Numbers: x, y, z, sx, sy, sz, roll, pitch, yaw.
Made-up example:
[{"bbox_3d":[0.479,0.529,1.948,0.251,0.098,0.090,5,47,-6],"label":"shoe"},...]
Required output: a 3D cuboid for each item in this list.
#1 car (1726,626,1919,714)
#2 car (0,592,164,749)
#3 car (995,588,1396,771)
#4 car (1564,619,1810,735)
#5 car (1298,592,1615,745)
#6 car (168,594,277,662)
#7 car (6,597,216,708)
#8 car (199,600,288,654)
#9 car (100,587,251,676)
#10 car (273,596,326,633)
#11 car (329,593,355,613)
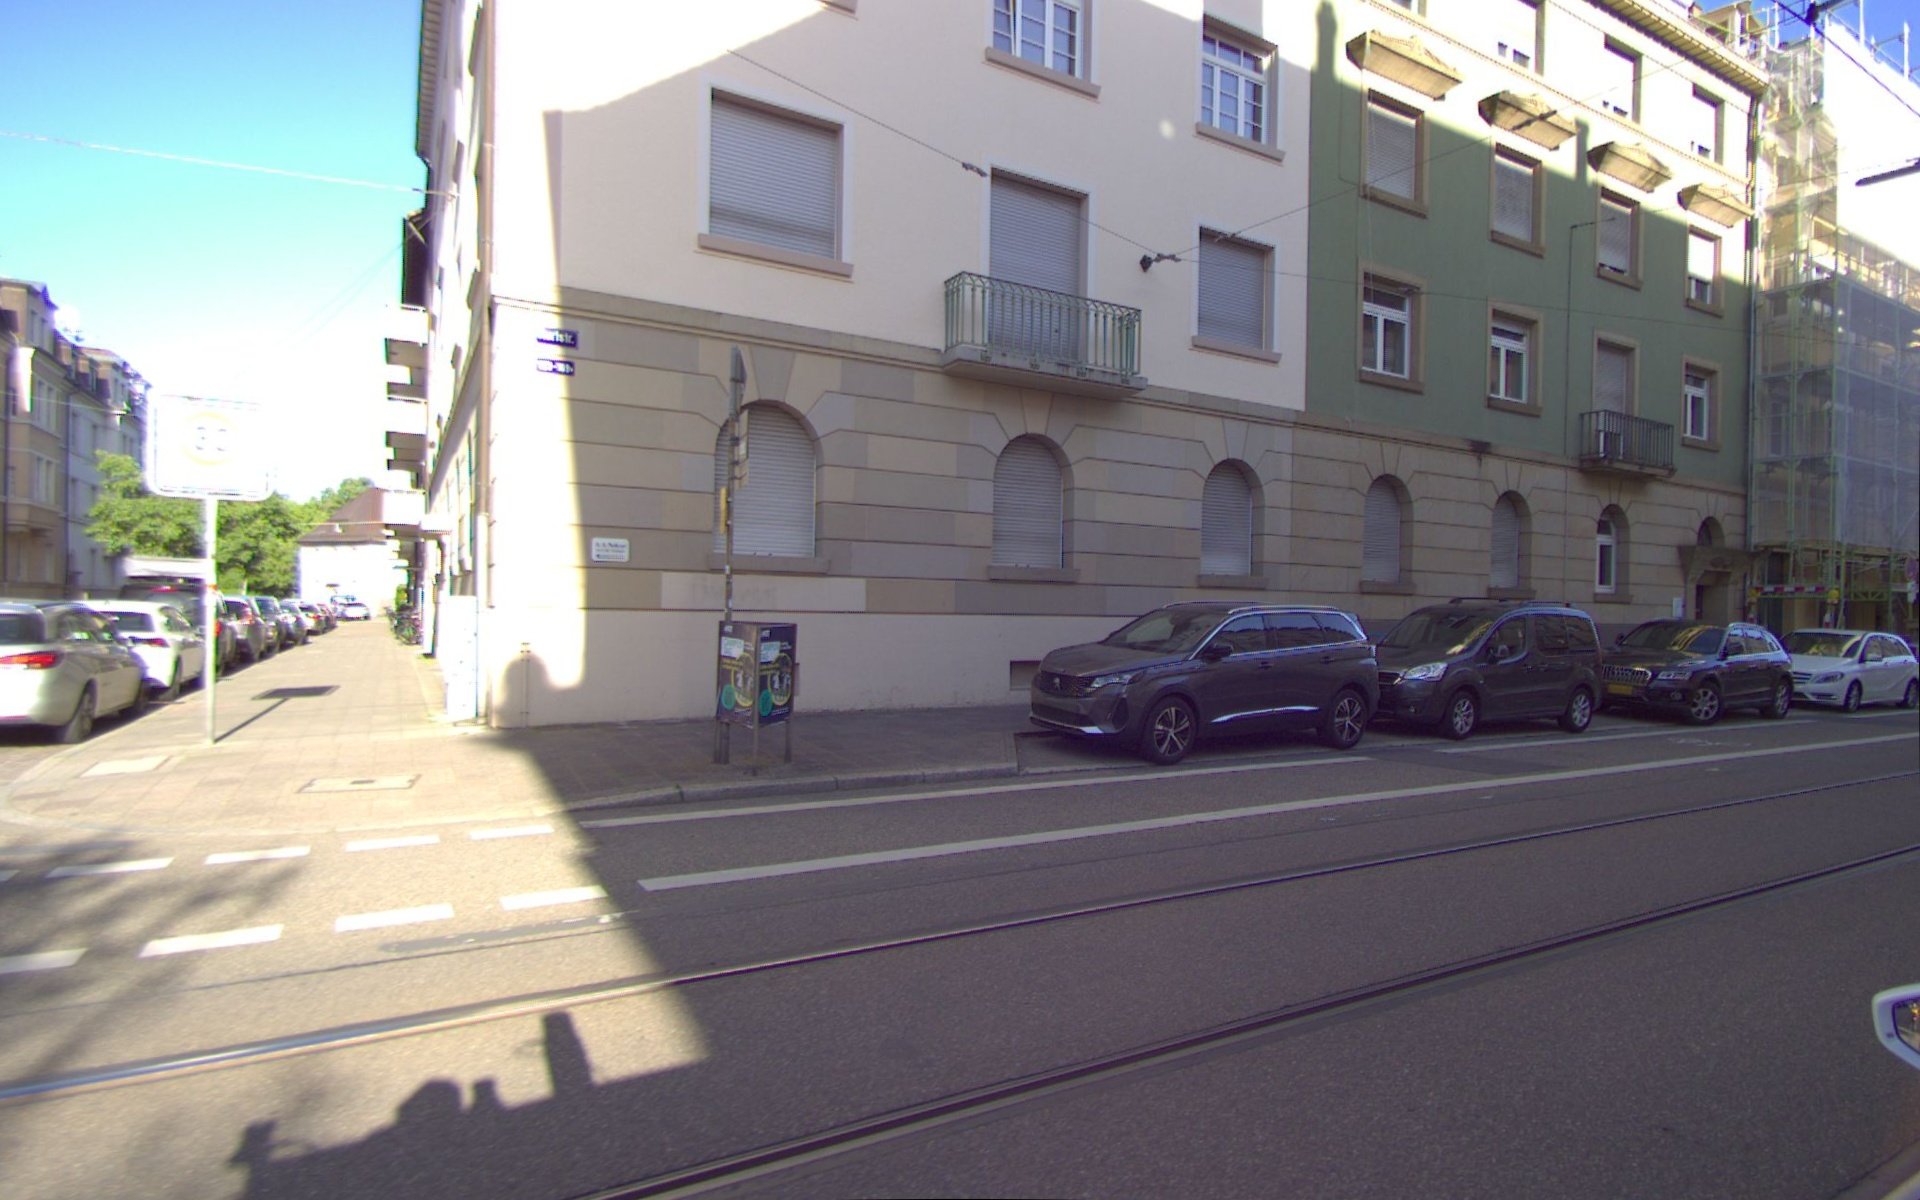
[{"bbox_3d":[17.586,1.355,20.300,4.334,1.523,1.710,1,2,-29],"label":"car"},{"bbox_3d":[-10.361,0.657,11.153,1.761,1.484,4.197,0,0,-30],"label":"car"},{"bbox_3d":[2.825,0.801,11.665,4.616,1.713,1.773,1,2,-32],"label":"car"},{"bbox_3d":[12.423,1.216,17.087,4.558,1.648,1.773,1,2,-32],"label":"car"},{"bbox_3d":[7.099,0.882,14.276,4.473,1.840,1.775,1,2,-29],"label":"car"},{"bbox_3d":[-18.421,0.634,25.263,1.761,1.542,3.968,0,0,-30],"label":"car"},{"bbox_3d":[-12.998,0.708,15.639,1.819,1.484,3.777,0,0,-30],"label":"car"},{"bbox_3d":[-21.342,0.752,30.042,1.761,1.484,3.968,0,0,-30],"label":"car"},{"bbox_3d":[-15.704,0.554,20.318,1.837,1.602,3.968,0,0,-30],"label":"car"},{"bbox_3d":[-30.183,0.615,45.985,1.761,1.599,3.968,0,0,-30],"label":"car"},{"bbox_3d":[-51.826,0.254,84.261,1.761,1.599,3.968,0,0,-30],"label":"car"}]
